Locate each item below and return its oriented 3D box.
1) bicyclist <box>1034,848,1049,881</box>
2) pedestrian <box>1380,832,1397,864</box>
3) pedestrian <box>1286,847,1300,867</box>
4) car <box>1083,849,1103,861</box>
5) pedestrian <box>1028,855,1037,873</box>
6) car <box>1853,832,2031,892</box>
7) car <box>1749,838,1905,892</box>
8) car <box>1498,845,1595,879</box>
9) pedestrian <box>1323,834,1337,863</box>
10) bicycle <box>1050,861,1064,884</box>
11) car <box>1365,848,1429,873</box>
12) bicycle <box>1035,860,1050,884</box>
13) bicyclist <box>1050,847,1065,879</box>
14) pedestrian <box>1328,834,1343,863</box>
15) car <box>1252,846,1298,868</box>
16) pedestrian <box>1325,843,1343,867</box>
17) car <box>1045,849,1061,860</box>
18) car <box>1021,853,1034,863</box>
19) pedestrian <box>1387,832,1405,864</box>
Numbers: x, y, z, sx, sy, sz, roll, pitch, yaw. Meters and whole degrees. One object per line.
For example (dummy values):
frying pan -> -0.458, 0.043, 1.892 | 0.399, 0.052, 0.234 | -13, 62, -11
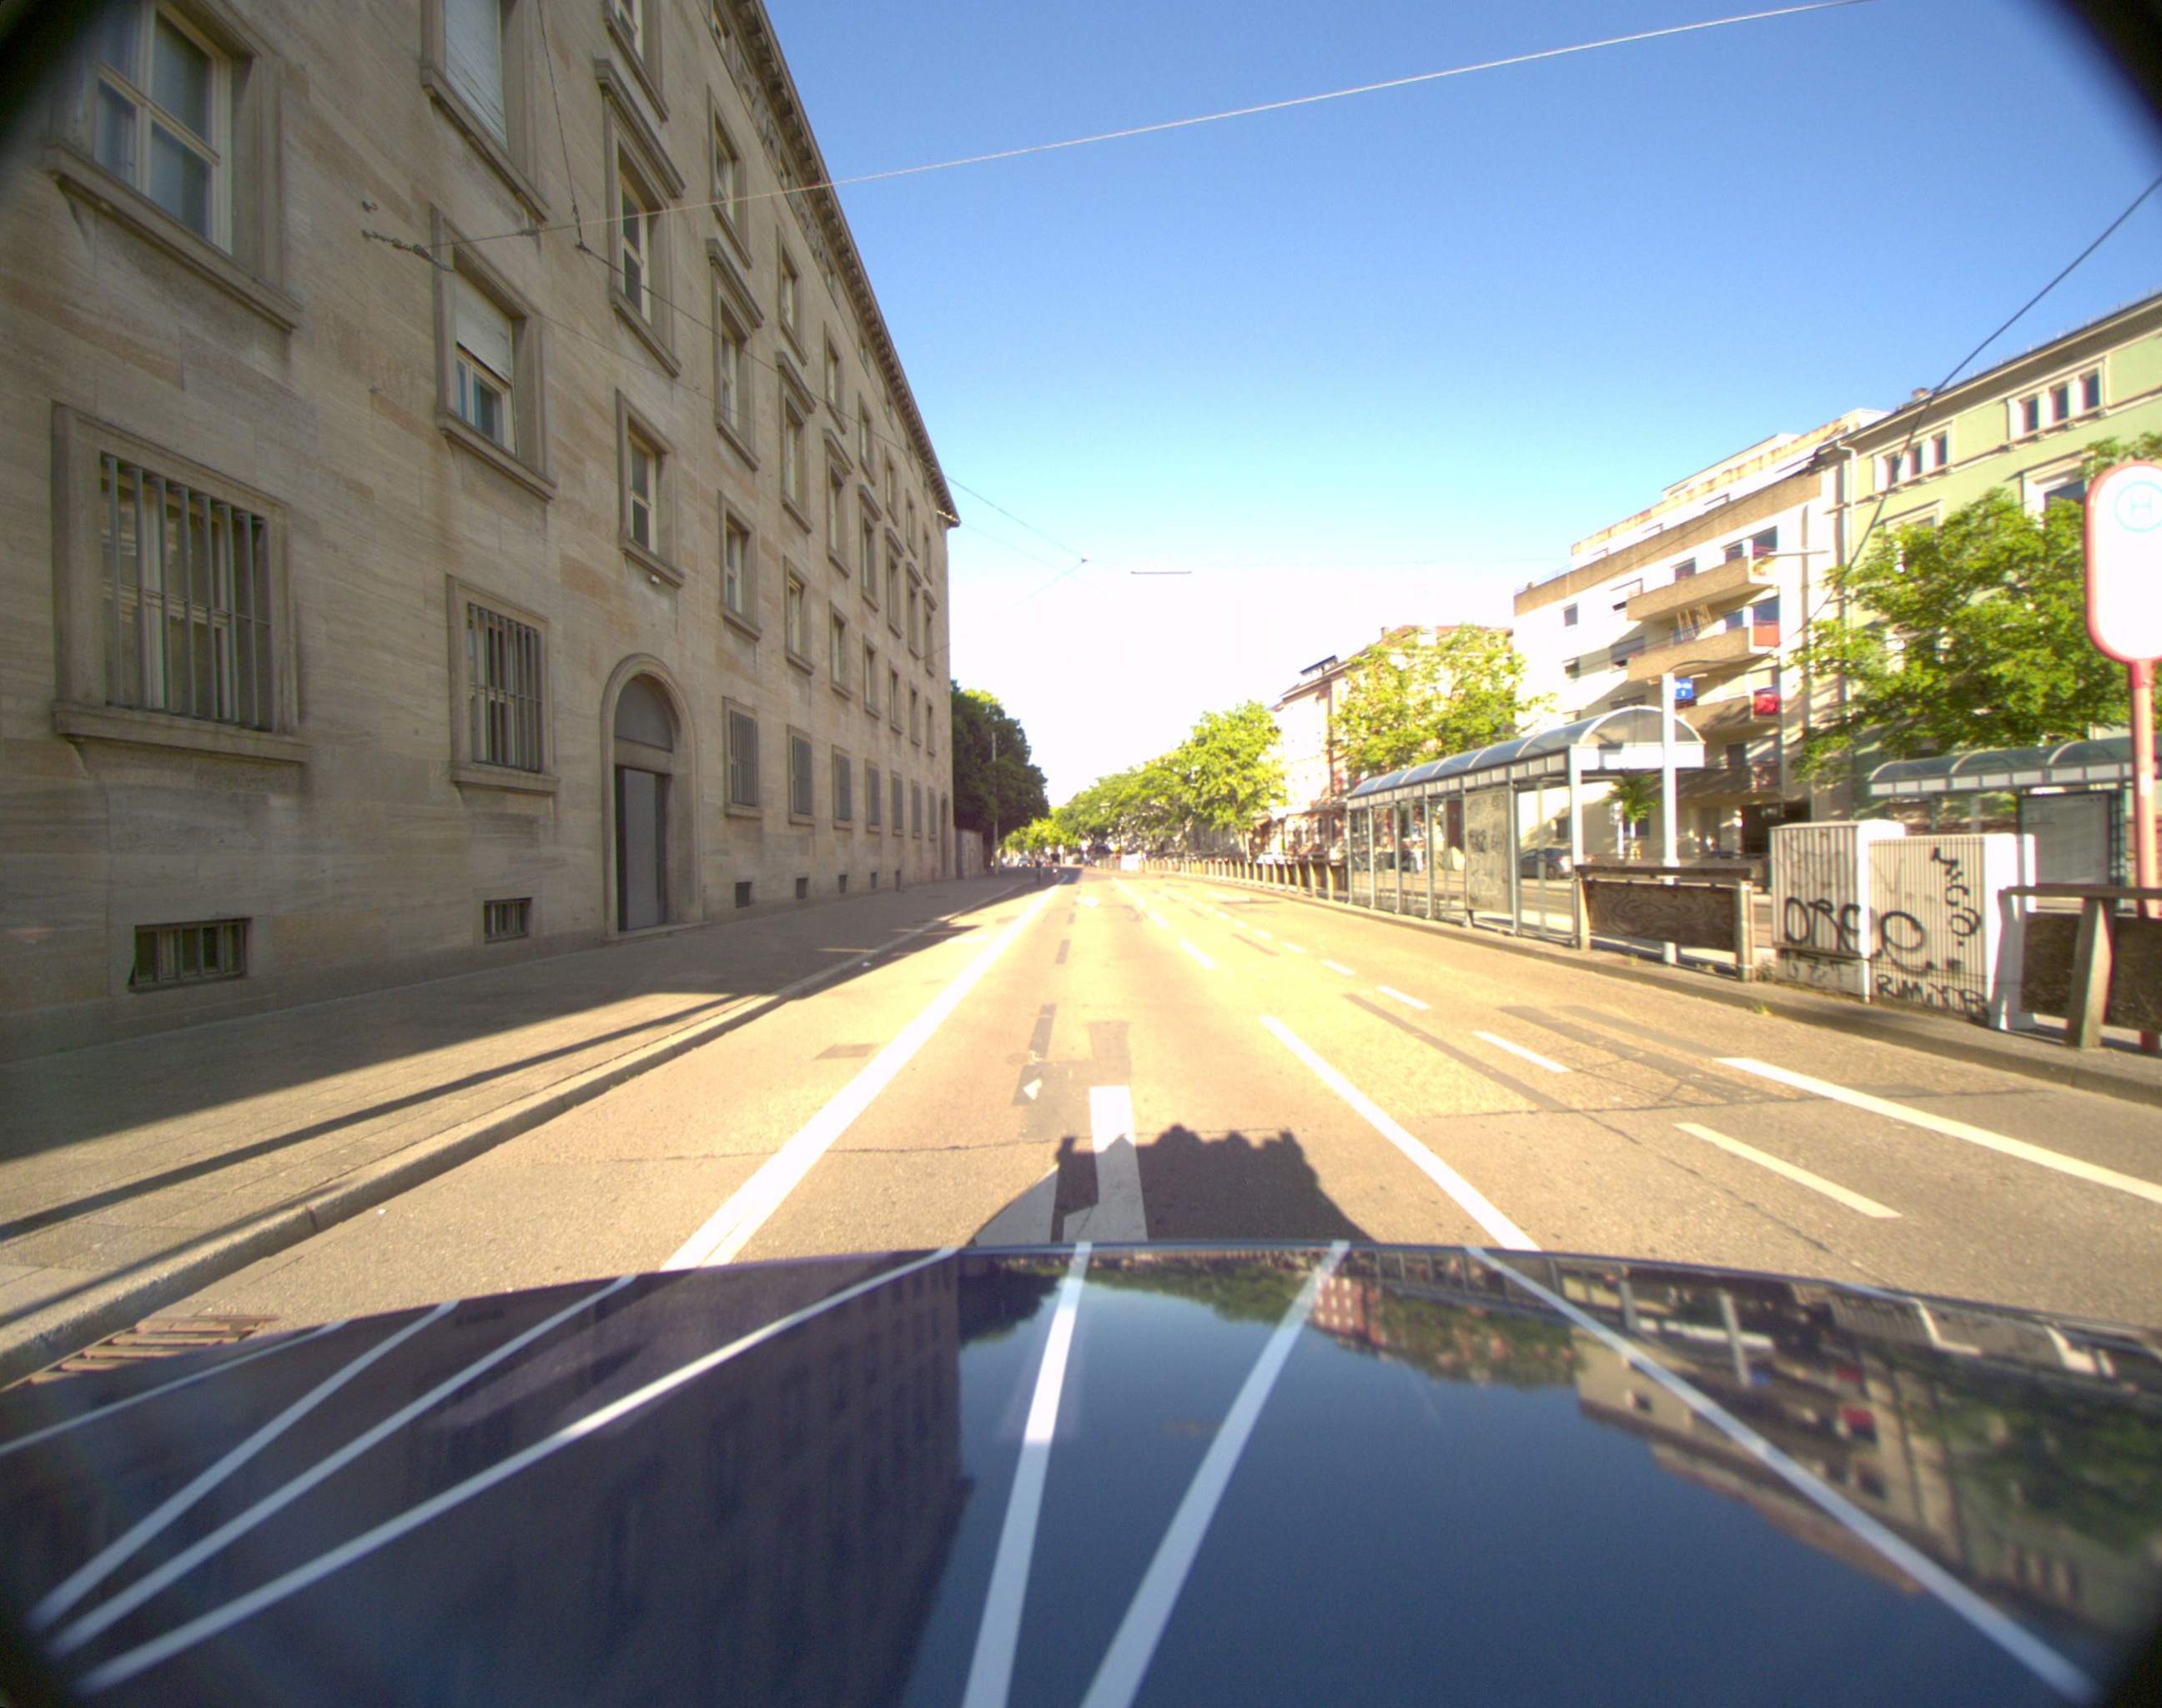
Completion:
bicyclist -> -2.086, 0.562, 40.365 | 0.625, 1.729, 0.688 | -3, 1, 1
pedestrian -> 21.155, -0.409, 52.318 | 0.813, 2.194, 0.756 | -1, 1, -10
pedestrian -> 17.687, 0.241, 63.354 | 0.866, 1.619, 0.893 | -1, 1, 31
car -> 1.540, 0.140, 99.466 | 1.648, 1.480, 3.995 | -2, 1, -12
pedestrian -> -3.740, 0.777, 58.867 | 0.548, 1.327, 0.587 | -1, 1, 7
car -> 24.683, 0.199, 21.820 | 4.002, 1.573, 1.761 | -1, 0, -14
car -> 23.886, 0.322, 24.362 | 4.002, 1.573, 1.761 | -1, 0, -14
car -> 20.877, 0.355, 34.242 | 1.654, 1.419, 3.737 | -1, 0, -11
pedestrian -> 19.429, -0.421, 59.286 | 0.812, 2.194, 0.756 | -1, 1, -4
bicycle -> -1.207, 0.928, 38.732 | 0.625, 1.167, 1.566 | -1, 0, 1
car -> 18.501, 0.353, 44.658 | 1.609, 1.388, 3.997 | -1, 0, -9
bicycle -> -2.070, 0.958, 40.521 | 0.625, 1.214, 1.659 | -3, 1, 1
bicyclist -> -1.207, 0.451, 38.776 | 0.728, 1.570, 0.775 | -1, 1, 1
pedestrian -> 19.325, -0.399, 57.672 | 0.813, 2.194, 0.756 | -1, 1, -10
car -> 16.270, 0.230, 63.697 | 4.134, 1.698, 1.848 | -1, 1, -45
pedestrian -> 18.442, 0.046, 55.380 | 0.855, 1.710, 1.019 | -1, 1, -8
car -> -4.917, 0.060, 131.744 | 2.001, 1.789, 3.995 | -1, 0, -13
car -> -8.133, 0.565, 114.848 | 1.772, 1.429, 3.831 | -1, 0, -7
pedestrian -> 21.321, -0.405, 51.381 | 0.813, 2.194, 0.756 | -1, 1, -10
